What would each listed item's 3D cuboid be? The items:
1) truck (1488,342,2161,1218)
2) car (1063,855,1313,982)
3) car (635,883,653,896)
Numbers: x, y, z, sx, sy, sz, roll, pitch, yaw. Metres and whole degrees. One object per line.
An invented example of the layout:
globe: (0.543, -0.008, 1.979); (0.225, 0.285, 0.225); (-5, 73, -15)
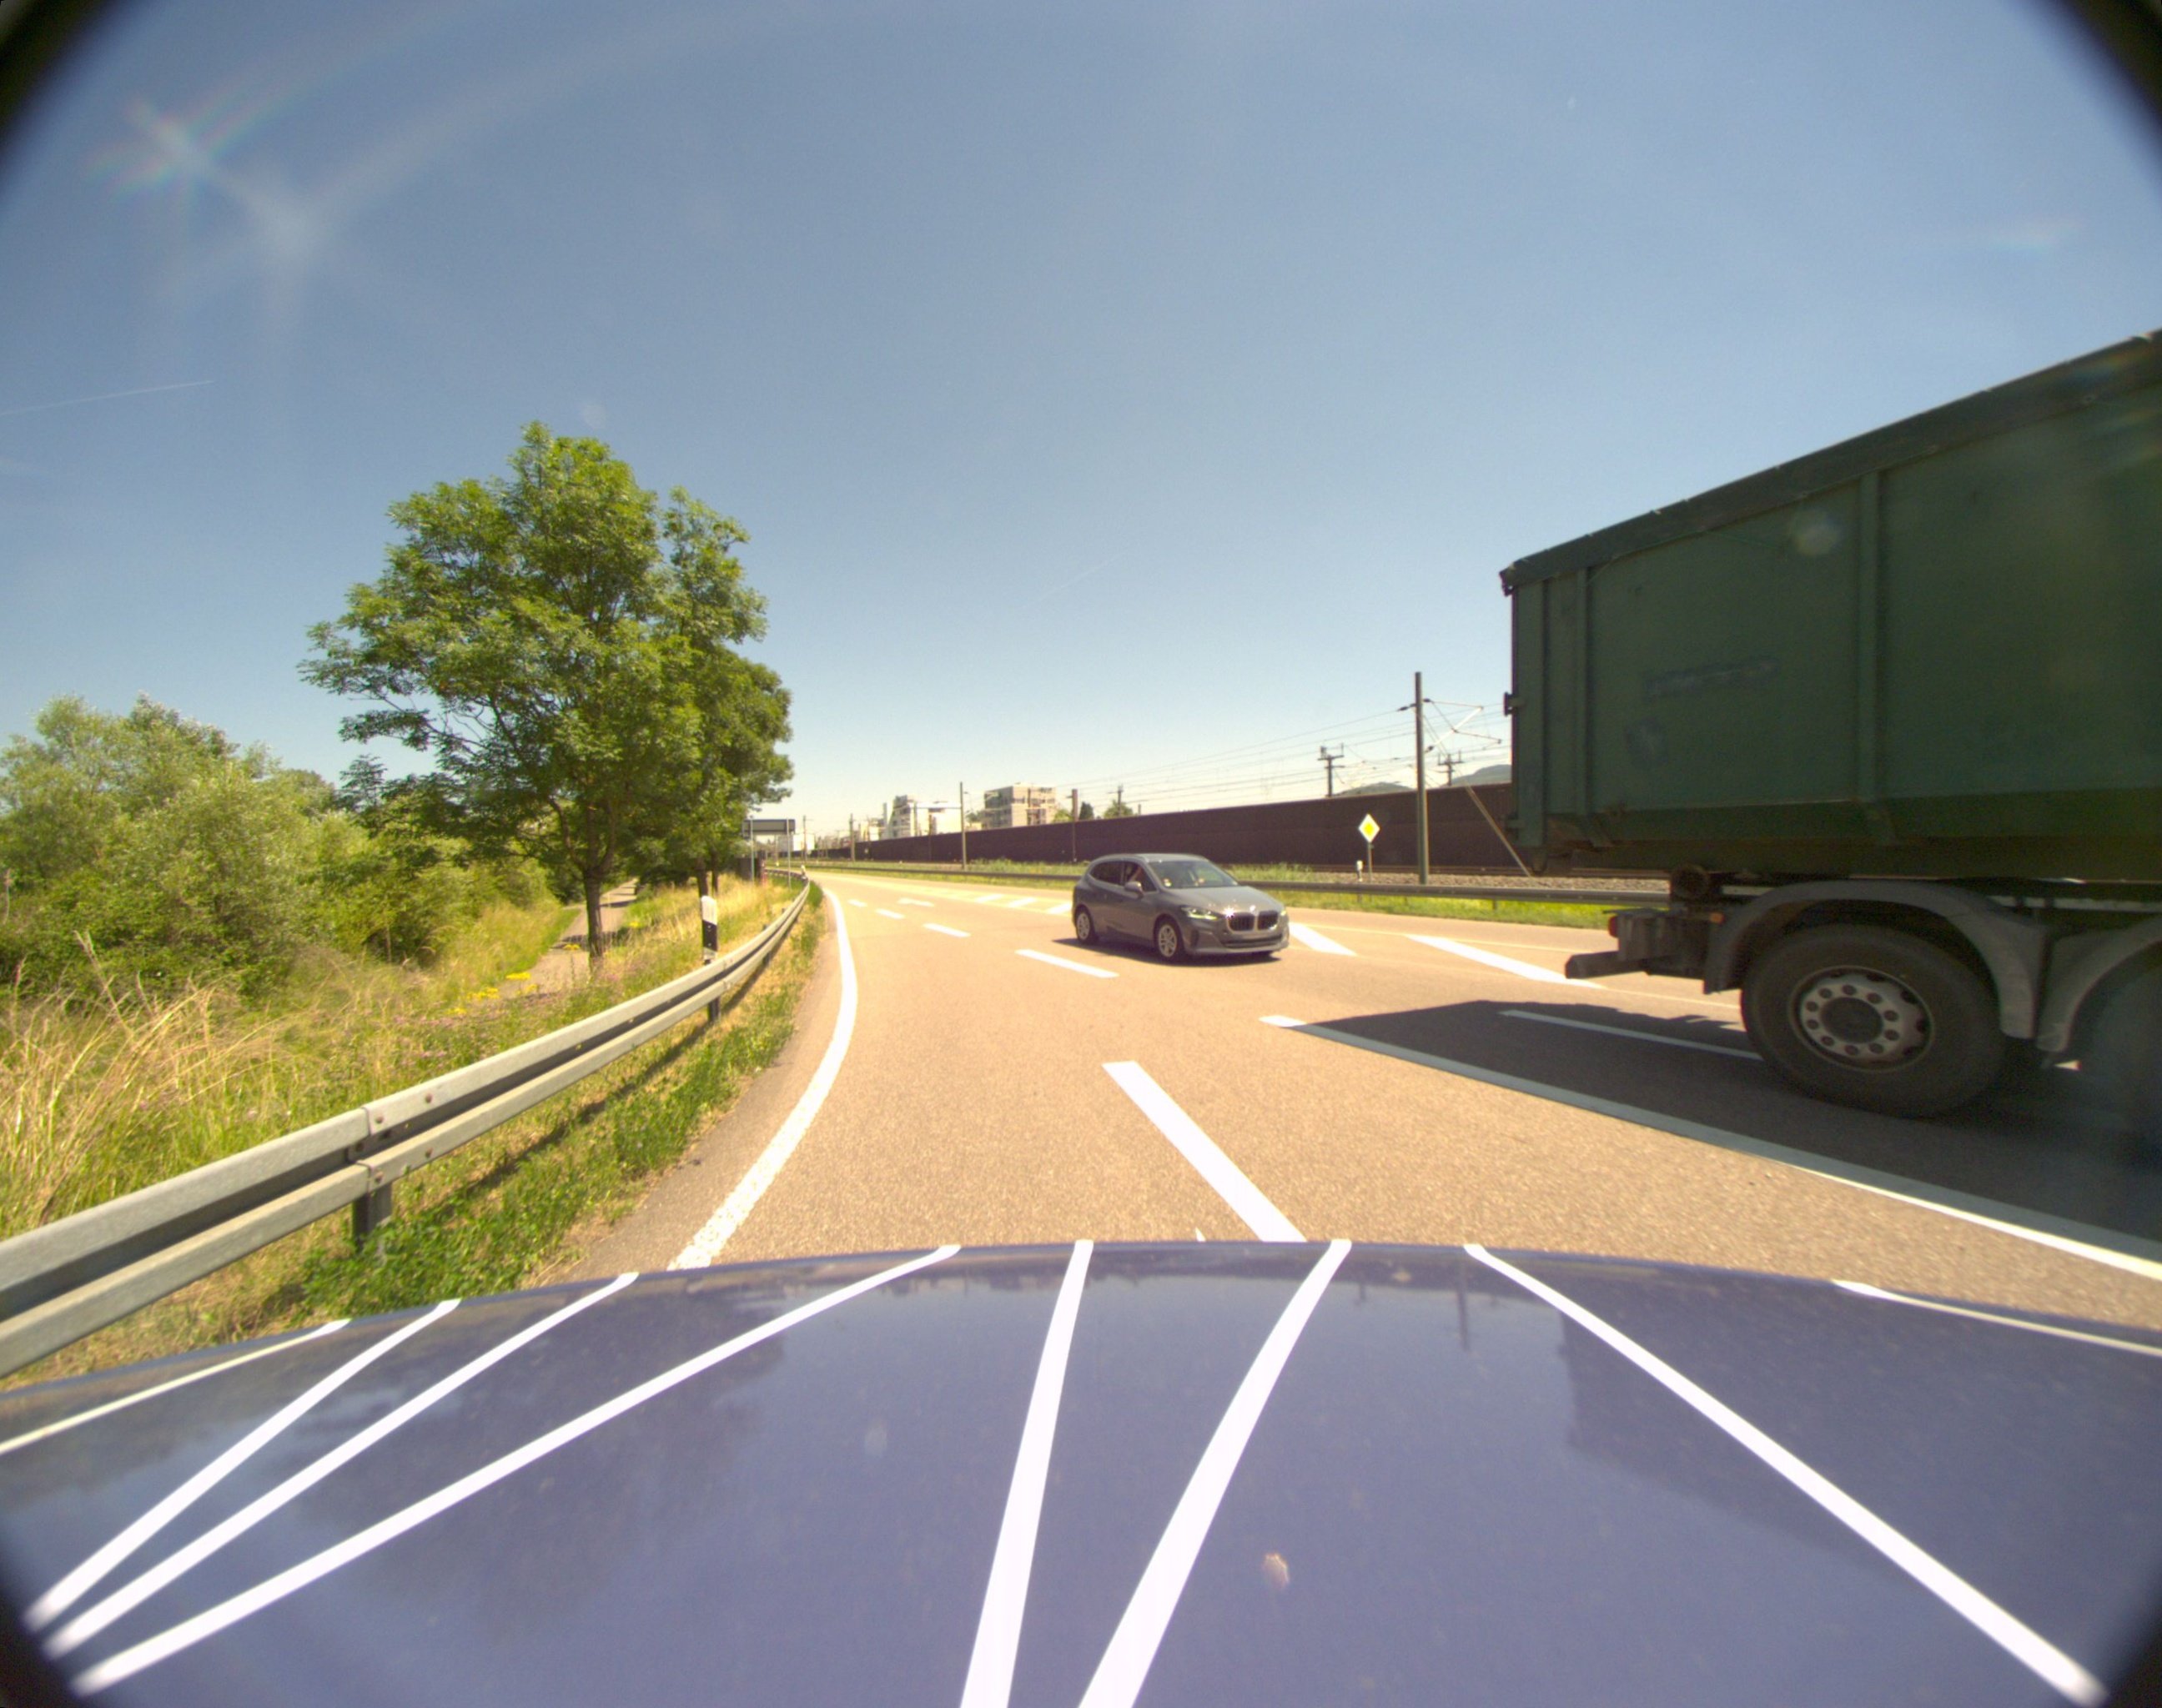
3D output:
truck: (6.506, -0.335, 2.279); (2.602, 3.715, 9.554); (-1, 0, -26)
car: (1.461, 0.833, 12.065); (1.853, 1.613, 4.216); (-1, 0, -27)
car: (-63.515, 5.175, 110.511); (2.003, 1.674, 3.992); (-3, 0, -28)
